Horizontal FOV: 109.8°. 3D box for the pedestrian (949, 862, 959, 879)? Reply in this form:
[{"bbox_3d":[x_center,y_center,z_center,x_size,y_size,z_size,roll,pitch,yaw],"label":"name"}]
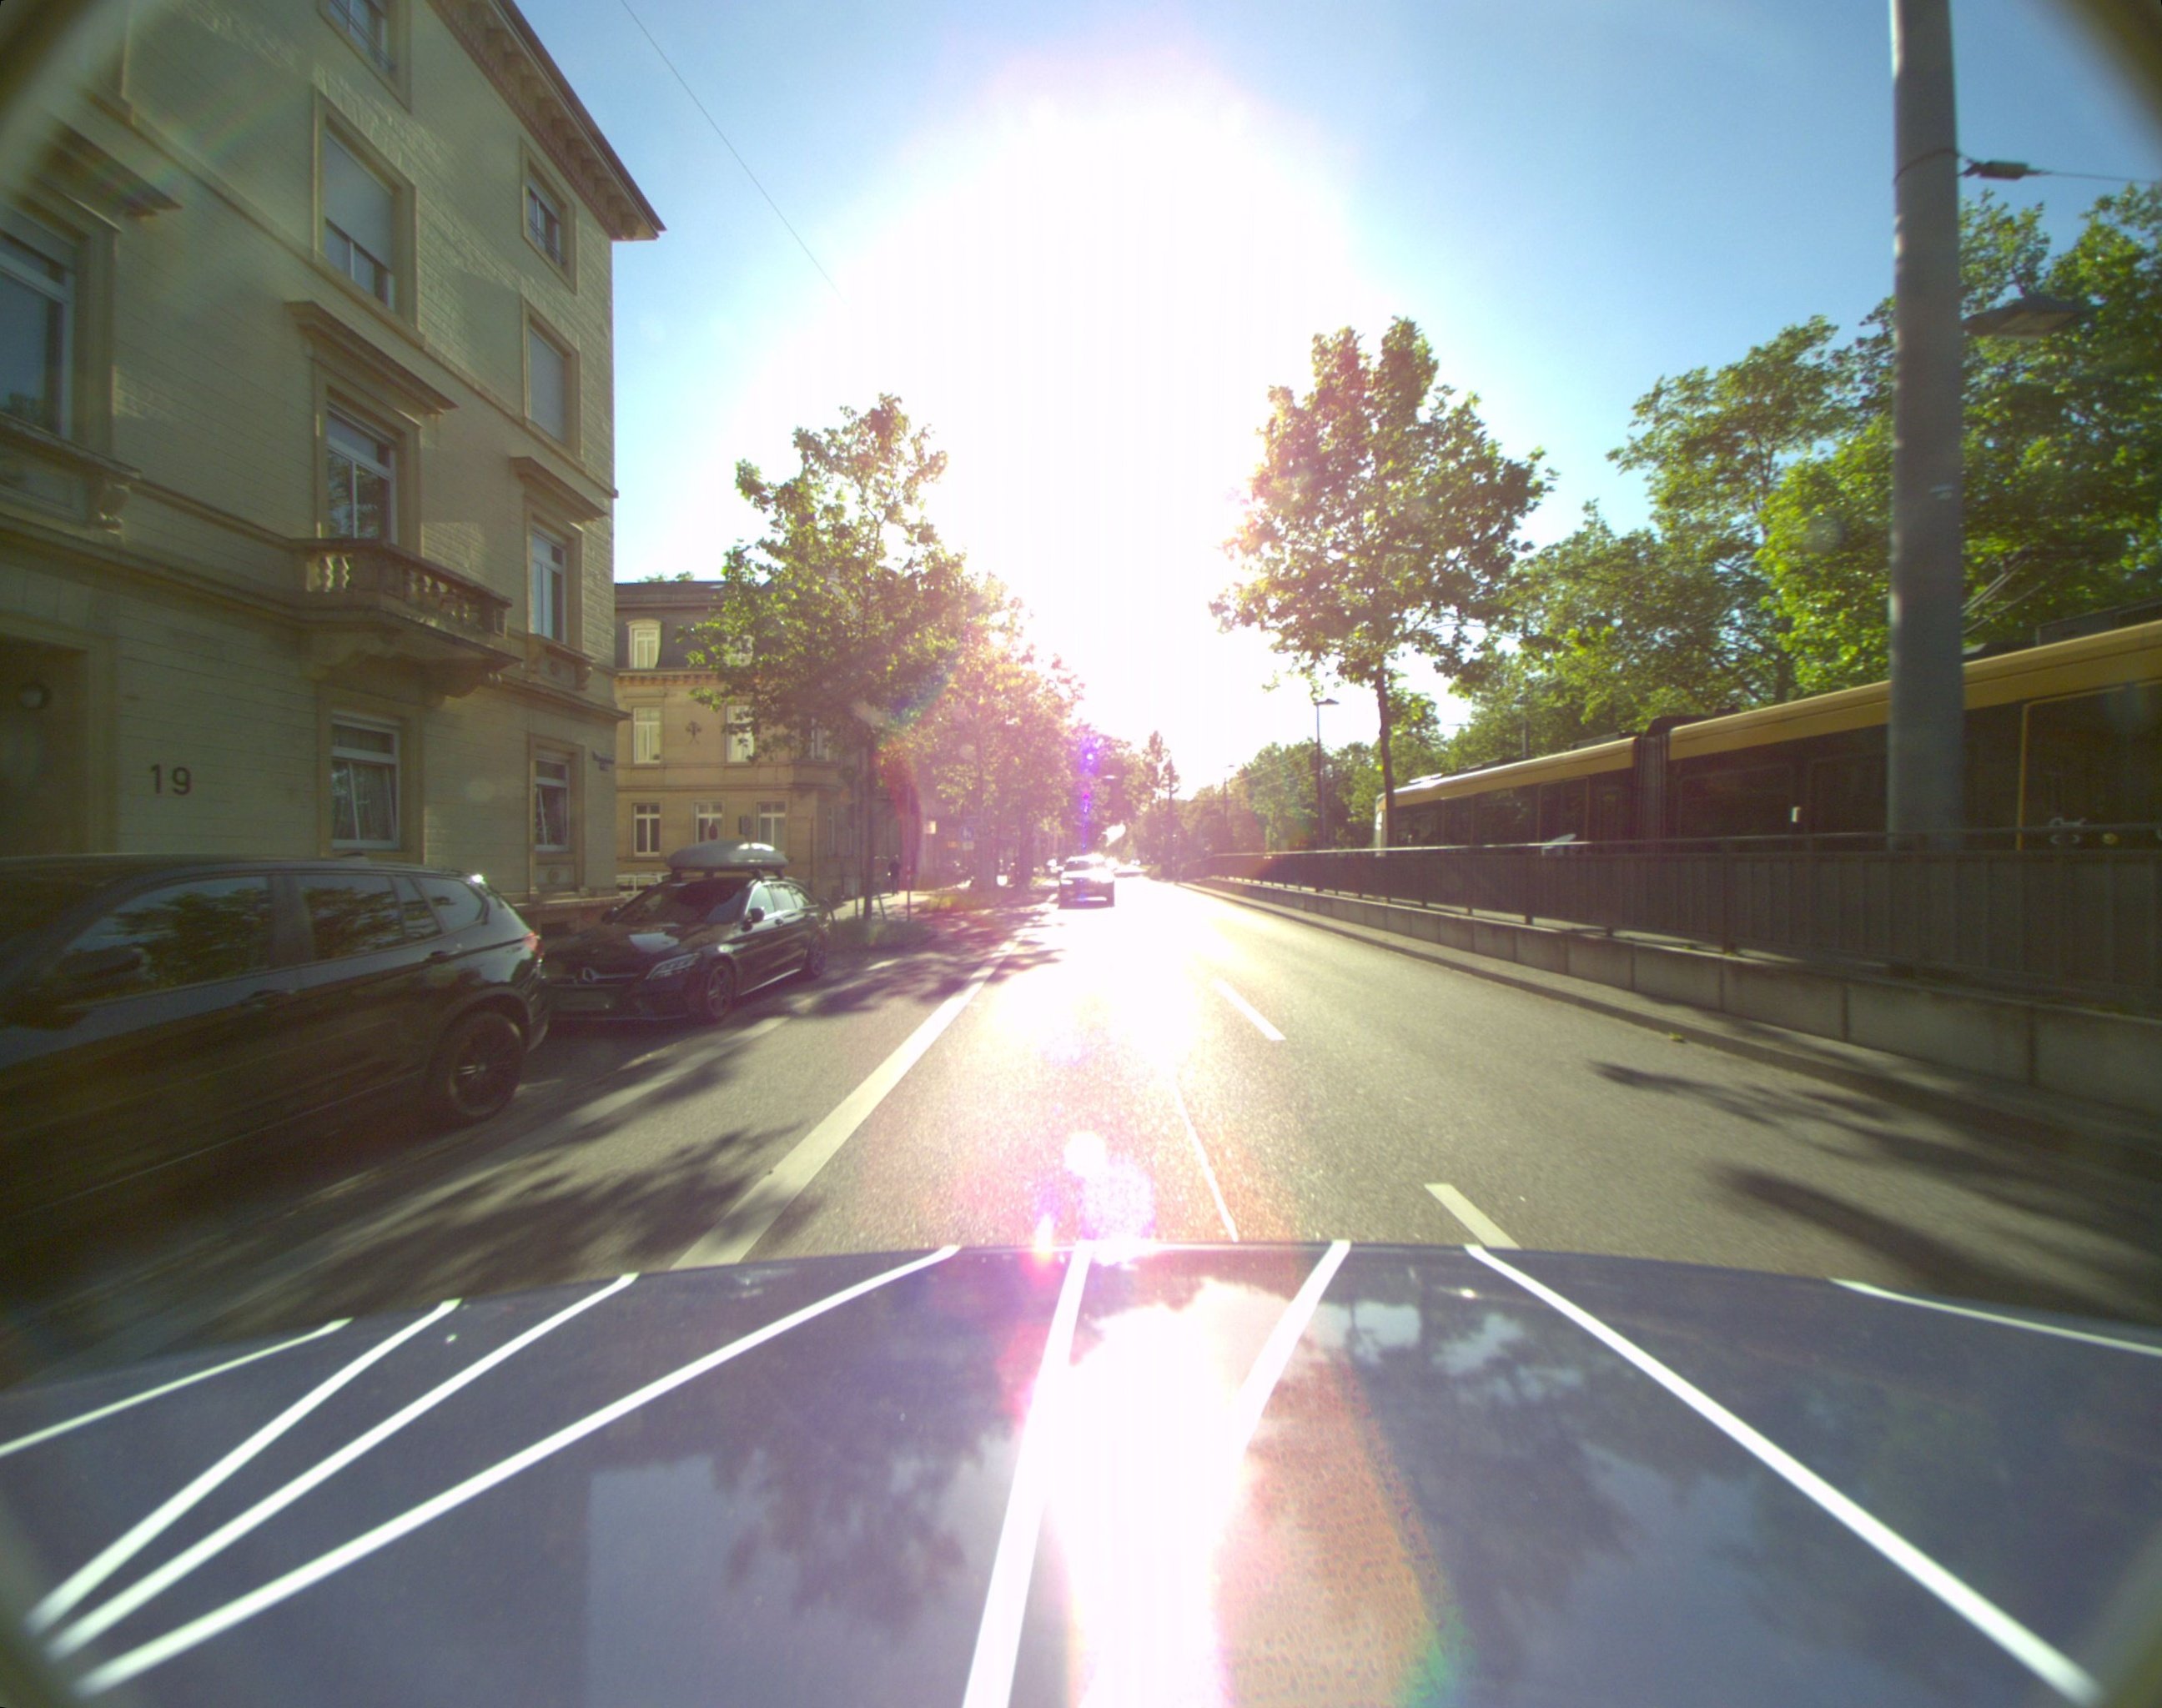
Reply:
[{"bbox_3d":[-8.760,1.144,52.512,0.648,1.154,0.610,-2,0,-10],"label":"pedestrian"}]

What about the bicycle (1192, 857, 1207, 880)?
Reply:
[{"bbox_3d":[6.465,0.789,41.483,0.329,1.207,1.828,-1,0,-5],"label":"bicycle"}]

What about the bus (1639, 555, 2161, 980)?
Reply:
[{"bbox_3d":[10.137,-0.715,5.866,2.876,3.423,12.216,-1,0,1],"label":"bus"}]

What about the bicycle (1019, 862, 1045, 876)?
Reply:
[{"bbox_3d":[-3.814,1.192,59.272,2.019,0.987,0.444,-2,0,-1],"label":"bicycle"}]

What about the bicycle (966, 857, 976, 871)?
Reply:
[{"bbox_3d":[-8.295,0.754,57.188,0.444,0.987,1.689,-2,0,0],"label":"bicycle"}]

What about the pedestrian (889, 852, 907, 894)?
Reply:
[{"bbox_3d":[-8.118,0.858,33.726,0.565,1.816,0.959,-2,0,-2],"label":"pedestrian"}]

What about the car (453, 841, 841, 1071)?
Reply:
[{"bbox_3d":[-4.497,0.902,8.923,1.759,1.953,4.738,-1,0,1],"label":"car"}]

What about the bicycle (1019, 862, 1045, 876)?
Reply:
[{"bbox_3d":[-3.829,1.201,59.758,2.009,0.987,0.444,-2,0,-1],"label":"bicycle"}]

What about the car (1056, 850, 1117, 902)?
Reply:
[{"bbox_3d":[0.235,0.748,27.510,1.968,1.663,4.001,-2,-1,2],"label":"car"}]

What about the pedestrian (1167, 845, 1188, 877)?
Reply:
[{"bbox_3d":[5.879,0.409,46.328,1.075,1.905,1.126,-1,0,-1],"label":"pedestrian"}]

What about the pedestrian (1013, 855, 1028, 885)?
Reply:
[{"bbox_3d":[-3.582,0.945,45.263,0.643,1.761,0.869,-2,0,7],"label":"pedestrian"}]

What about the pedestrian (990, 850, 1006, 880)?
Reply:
[{"bbox_3d":[-5.712,0.739,52.521,0.884,2.002,0.857,-2,0,4],"label":"pedestrian"}]

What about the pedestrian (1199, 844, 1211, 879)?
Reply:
[{"bbox_3d":[6.816,0.393,41.806,0.452,1.891,0.584,-1,1,-6],"label":"pedestrian"}]

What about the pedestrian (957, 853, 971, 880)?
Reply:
[{"bbox_3d":[-8.031,0.849,52.067,0.468,1.800,0.775,-2,0,32],"label":"pedestrian"}]

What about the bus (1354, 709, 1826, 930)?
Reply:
[{"bbox_3d":[10.370,-0.503,18.549,2.876,3.423,13.218,-1,0,1],"label":"bus"}]

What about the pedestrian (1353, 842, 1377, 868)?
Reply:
[{"bbox_3d":[18.430,0.051,49.382,1.180,1.634,0.892,-1,1,-6],"label":"pedestrian"}]

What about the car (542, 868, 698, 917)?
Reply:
[{"bbox_3d":[-14.805,1.213,24.542,4.067,1.495,1.649,0,0,3],"label":"car"}]

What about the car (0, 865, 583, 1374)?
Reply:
[{"bbox_3d":[-4.584,0.935,3.192,1.802,1.690,4.737,-1,0,1],"label":"car"}]

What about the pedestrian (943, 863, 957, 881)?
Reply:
[{"bbox_3d":[-8.760,1.185,50.880,0.654,1.154,0.672,-2,0,-35],"label":"pedestrian"}]

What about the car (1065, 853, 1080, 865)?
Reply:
[{"bbox_3d":[-1.084,0.661,96.607,1.705,1.415,4.517,-2,-1,0],"label":"car"}]

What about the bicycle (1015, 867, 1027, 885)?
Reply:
[{"bbox_3d":[-3.277,1.190,41.448,0.429,0.964,1.750,-2,0,1],"label":"bicycle"}]
